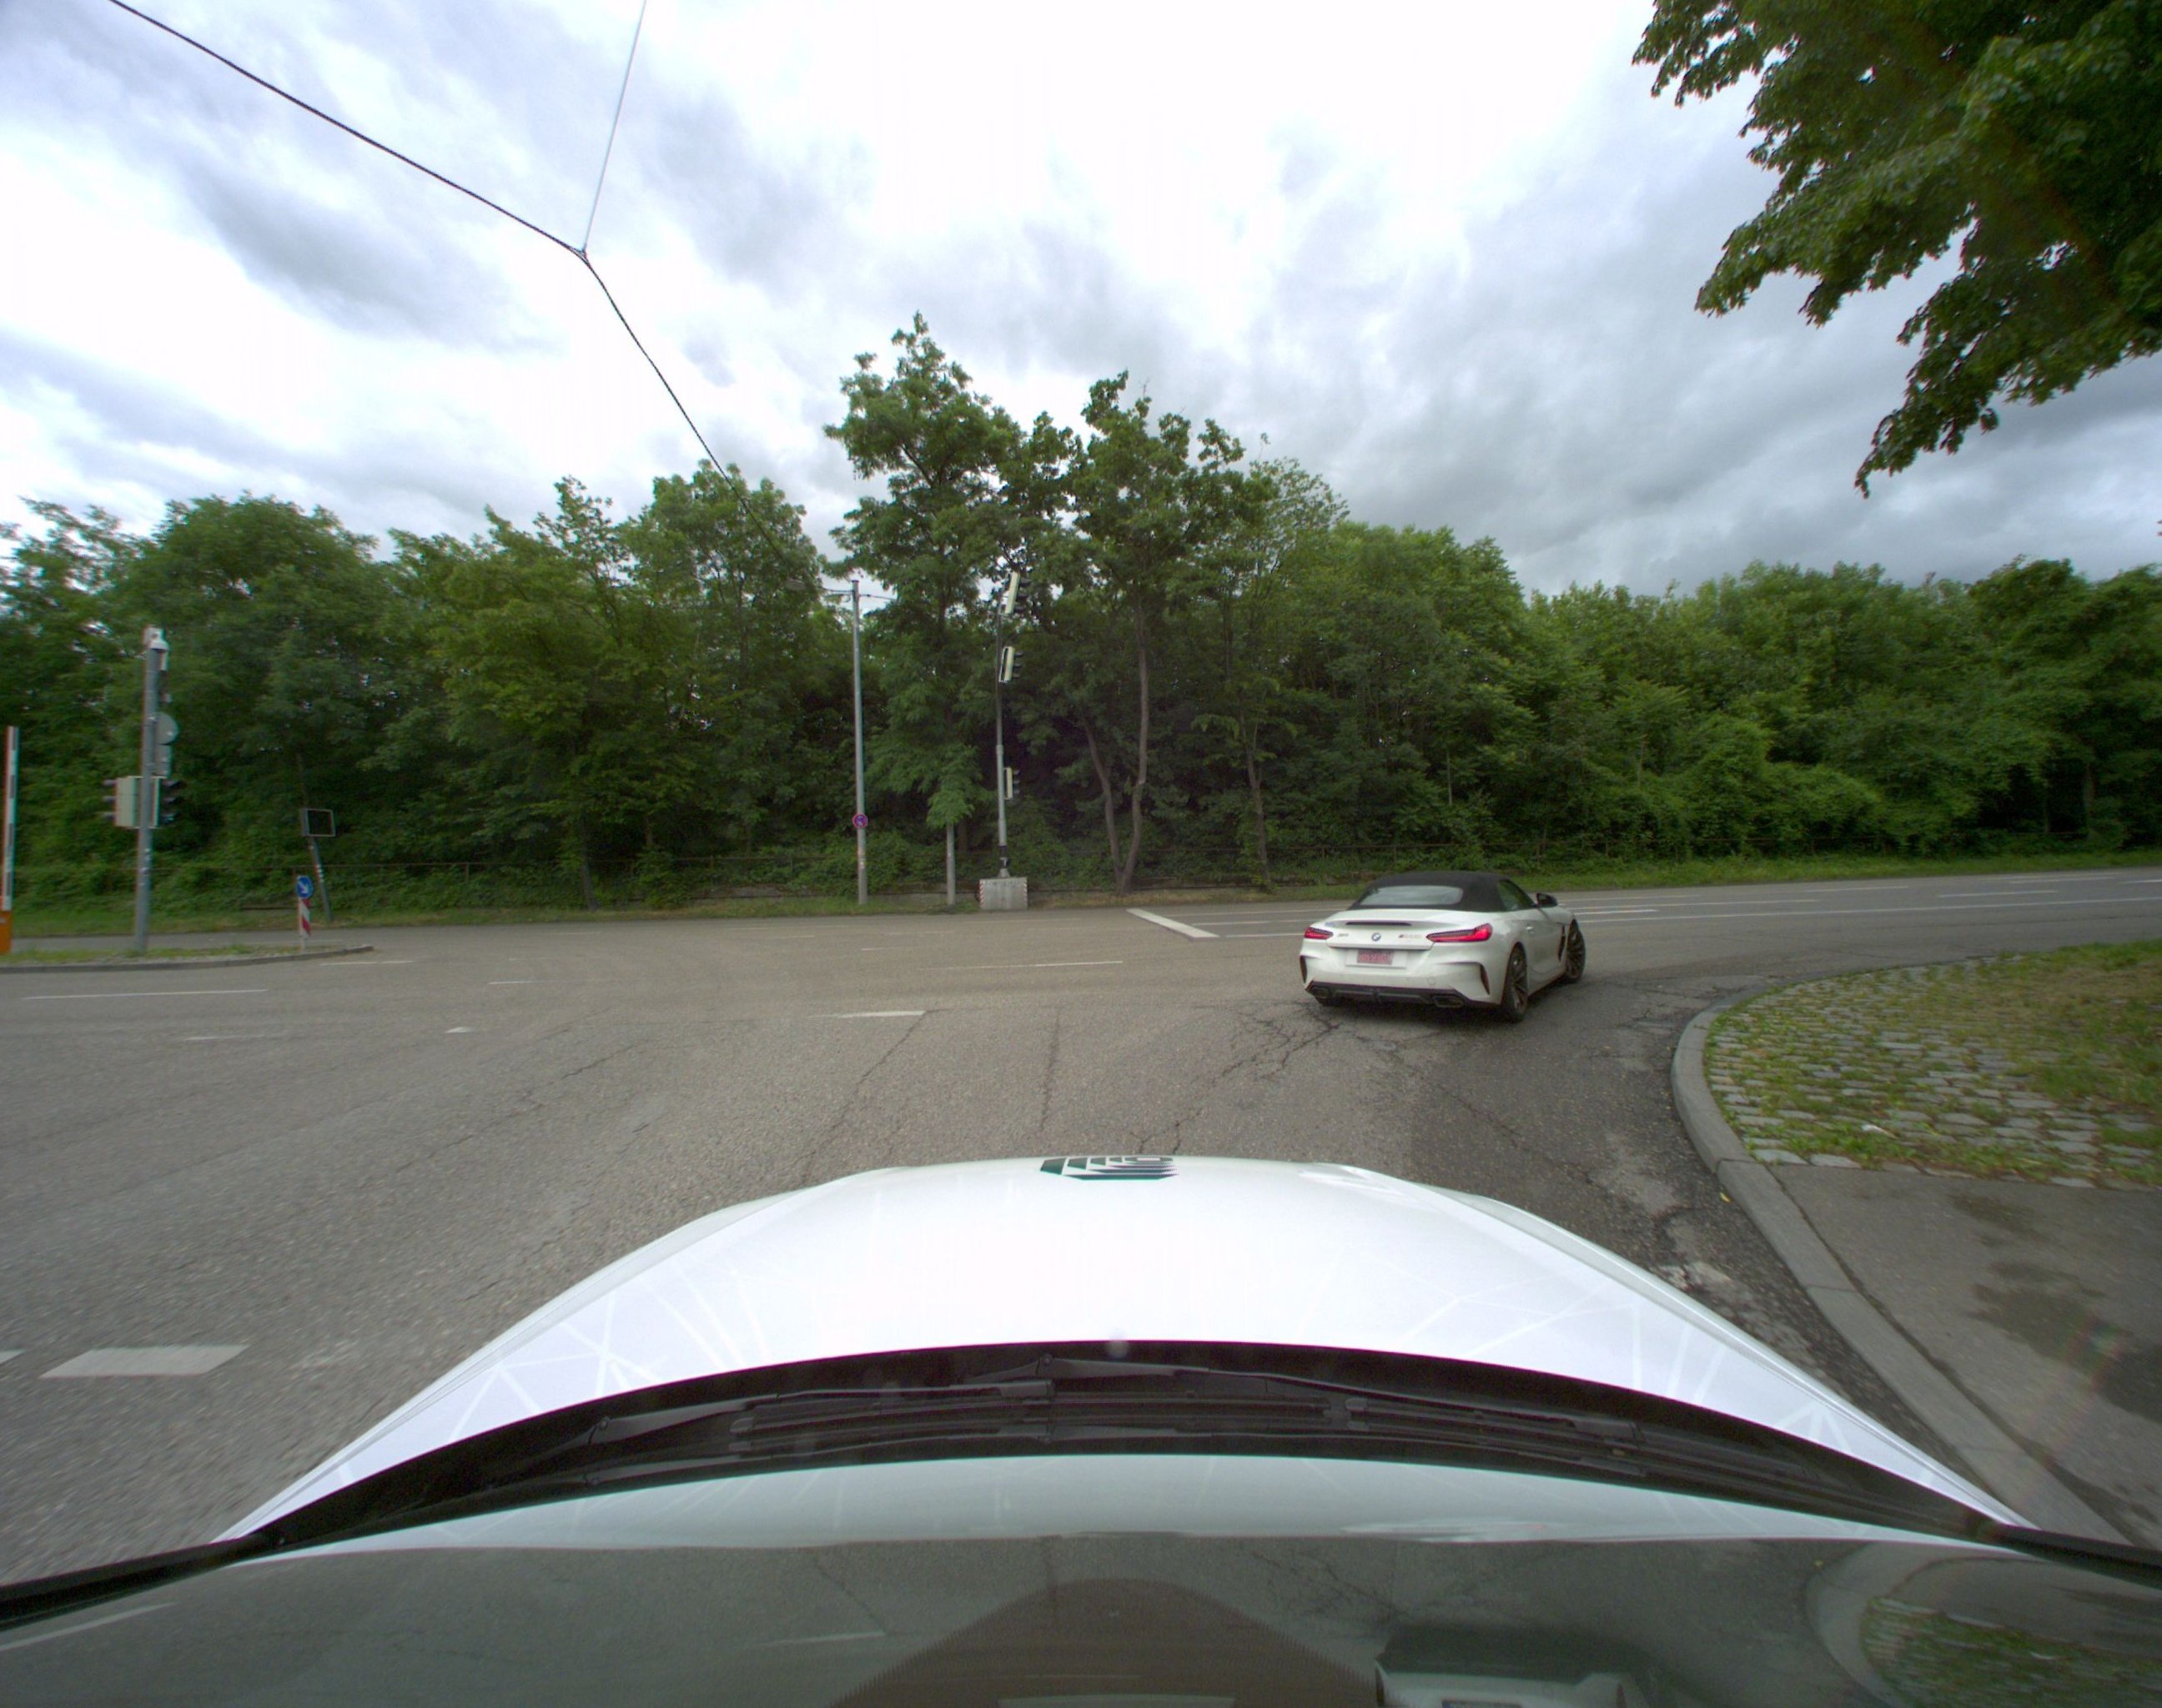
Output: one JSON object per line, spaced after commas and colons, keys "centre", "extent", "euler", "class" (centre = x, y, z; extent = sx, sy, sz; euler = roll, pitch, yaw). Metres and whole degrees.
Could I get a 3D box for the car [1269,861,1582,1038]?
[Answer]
{"centre": [3.719, 0.785, 8.389], "extent": [1.857, 1.309, 3.897], "euler": [-3, -1, 40], "class": "car"}
